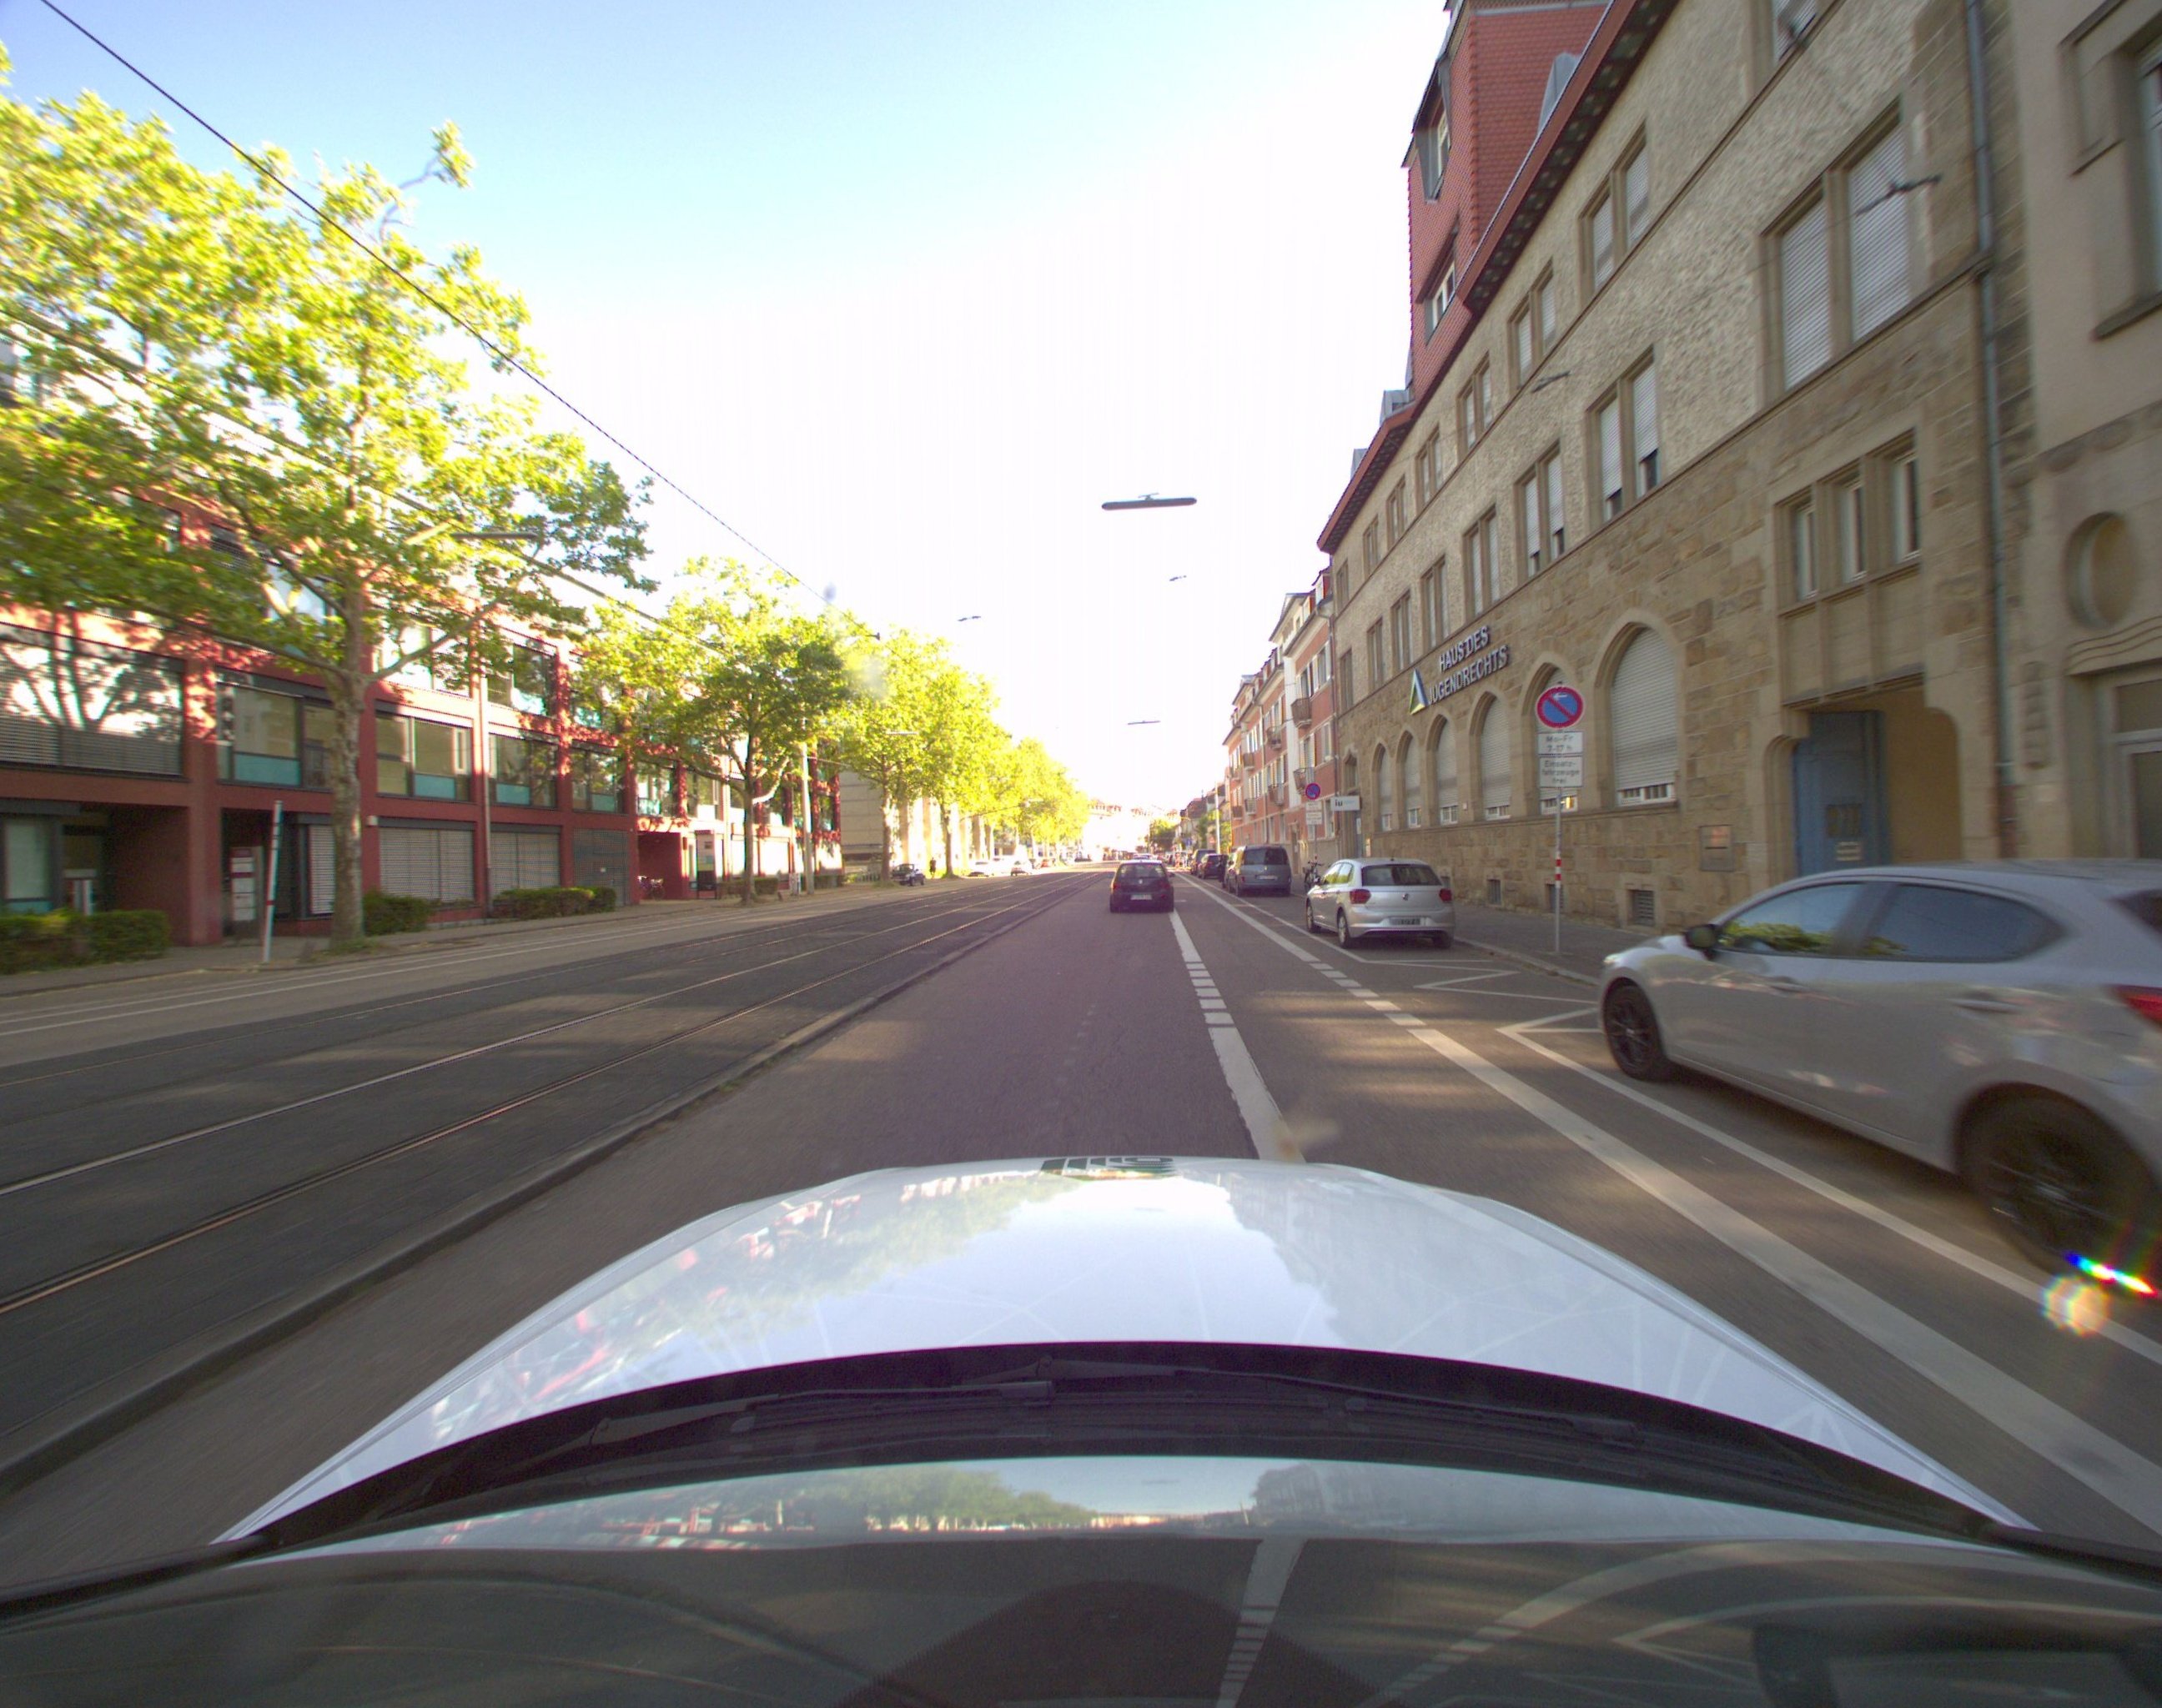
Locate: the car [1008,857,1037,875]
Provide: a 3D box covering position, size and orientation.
[{"bbox_3d":[-5.383,1.108,75.565,1.743,1.518,4.080,-4,-1,8],"label":"car"}]

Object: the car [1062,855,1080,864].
[{"bbox_3d":[-2.449,1.362,196.361,3.983,2.013,1.995,0,0,-7],"label":"car"}]

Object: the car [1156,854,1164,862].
[{"bbox_3d":[17.133,0.898,176.586,1.660,1.598,3.654,-2,0,4],"label":"car"}]

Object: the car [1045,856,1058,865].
[{"bbox_3d":[-4.977,1.174,138.477,1.784,1.465,3.840,1,0,4],"label":"car"}]

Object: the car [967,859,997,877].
[{"bbox_3d":[-9.417,1.288,78.008,2.003,1.572,4.697,0,0,3],"label":"car"}]

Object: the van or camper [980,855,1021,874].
[{"bbox_3d":[-8.665,1.133,88.346,2.041,1.949,5.219,0,0,24],"label":"van or camper"}]

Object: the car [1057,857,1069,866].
[{"bbox_3d":[-3.443,1.515,157.876,1.876,1.669,3.808,0,0,3],"label":"car"}]

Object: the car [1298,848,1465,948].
[{"bbox_3d":[5.095,0.669,14.414,1.706,1.501,4.231,0,0,5],"label":"car"}]

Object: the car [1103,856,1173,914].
[{"bbox_3d":[1.566,0.794,22.746,1.741,1.375,4.003,-2,0,3],"label":"car"}]

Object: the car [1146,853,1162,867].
[{"bbox_3d":[8.009,0.607,89.469,1.628,1.472,3.734,-2,0,4],"label":"car"}]

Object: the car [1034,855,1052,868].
[{"bbox_3d":[-5.278,0.973,112.886,1.879,1.666,4.005,-2,0,4],"label":"car"}]

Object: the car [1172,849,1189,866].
[{"bbox_3d":[11.352,0.350,92.702,1.751,1.838,3.552,0,0,4],"label":"car"}]

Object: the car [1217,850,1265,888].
[{"bbox_3d":[6.701,0.579,34.351,1.623,1.511,3.722,0,0,6],"label":"car"}]

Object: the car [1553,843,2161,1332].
[{"bbox_3d":[4.369,0.707,4.237,1.744,1.501,4.203,0,0,6],"label":"car"}]

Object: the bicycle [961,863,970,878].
[{"bbox_3d":[-10.280,1.460,72.465,0.579,1.209,1.653,0,0,-1],"label":"bicycle"}]

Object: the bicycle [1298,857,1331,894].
[{"bbox_3d":[7.756,0.689,27.125,0.512,1.139,2.261,-4,0,4],"label":"bicycle"}]

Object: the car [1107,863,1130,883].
[{"bbox_3d":[3.321,1.622,71.452,1.740,1.537,3.897,-2,0,5],"label":"car"}]

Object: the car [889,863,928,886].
[{"bbox_3d":[-11.407,1.347,53.943,1.500,1.454,3.468,-2,-1,5],"label":"car"}]

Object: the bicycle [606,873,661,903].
[{"bbox_3d":[-19.679,1.495,35.798,2.055,1.272,0.618,0,0,0],"label":"bicycle"}]

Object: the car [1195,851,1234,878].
[{"bbox_3d":[7.989,0.595,48.972,1.747,1.511,4.765,0,0,2],"label":"car"}]

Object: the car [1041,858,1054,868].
[{"bbox_3d":[-5.248,1.458,129.057,1.563,1.533,3.576,-2,-1,4],"label":"car"}]

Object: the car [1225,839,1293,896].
[{"bbox_3d":[6.320,0.436,29.406,1.745,1.855,4.822,-1,0,5],"label":"car"}]

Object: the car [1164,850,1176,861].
[{"bbox_3d":[14.748,0.278,134.997,1.809,1.799,4.005,-2,0,4],"label":"car"}]

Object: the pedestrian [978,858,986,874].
[{"bbox_3d":[-11.180,1.341,92.157,0.793,1.820,0.671,0,0,4],"label":"pedestrian"}]

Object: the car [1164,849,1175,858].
[{"bbox_3d":[14.081,-0.084,130.336,1.573,1.375,4.005,-2,0,4],"label":"car"}]

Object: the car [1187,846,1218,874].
[{"bbox_3d":[8.556,0.421,57.581,1.695,1.810,4.275,3,0,3],"label":"car"}]

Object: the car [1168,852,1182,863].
[{"bbox_3d":[12.976,0.478,112.420,1.653,1.526,4.041,-2,0,4],"label":"car"}]

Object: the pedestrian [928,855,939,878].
[{"bbox_3d":[-12.206,1.044,67.293,0.788,1.870,0.666,0,0,-24],"label":"pedestrian"}]

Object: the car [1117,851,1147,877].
[{"bbox_3d":[3.327,0.589,52.567,1.740,1.537,3.897,-2,0,5],"label":"car"}]

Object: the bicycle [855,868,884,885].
[{"bbox_3d":[-15.720,1.663,60.539,1.999,1.278,0.665,-1,0,4],"label":"bicycle"}]
